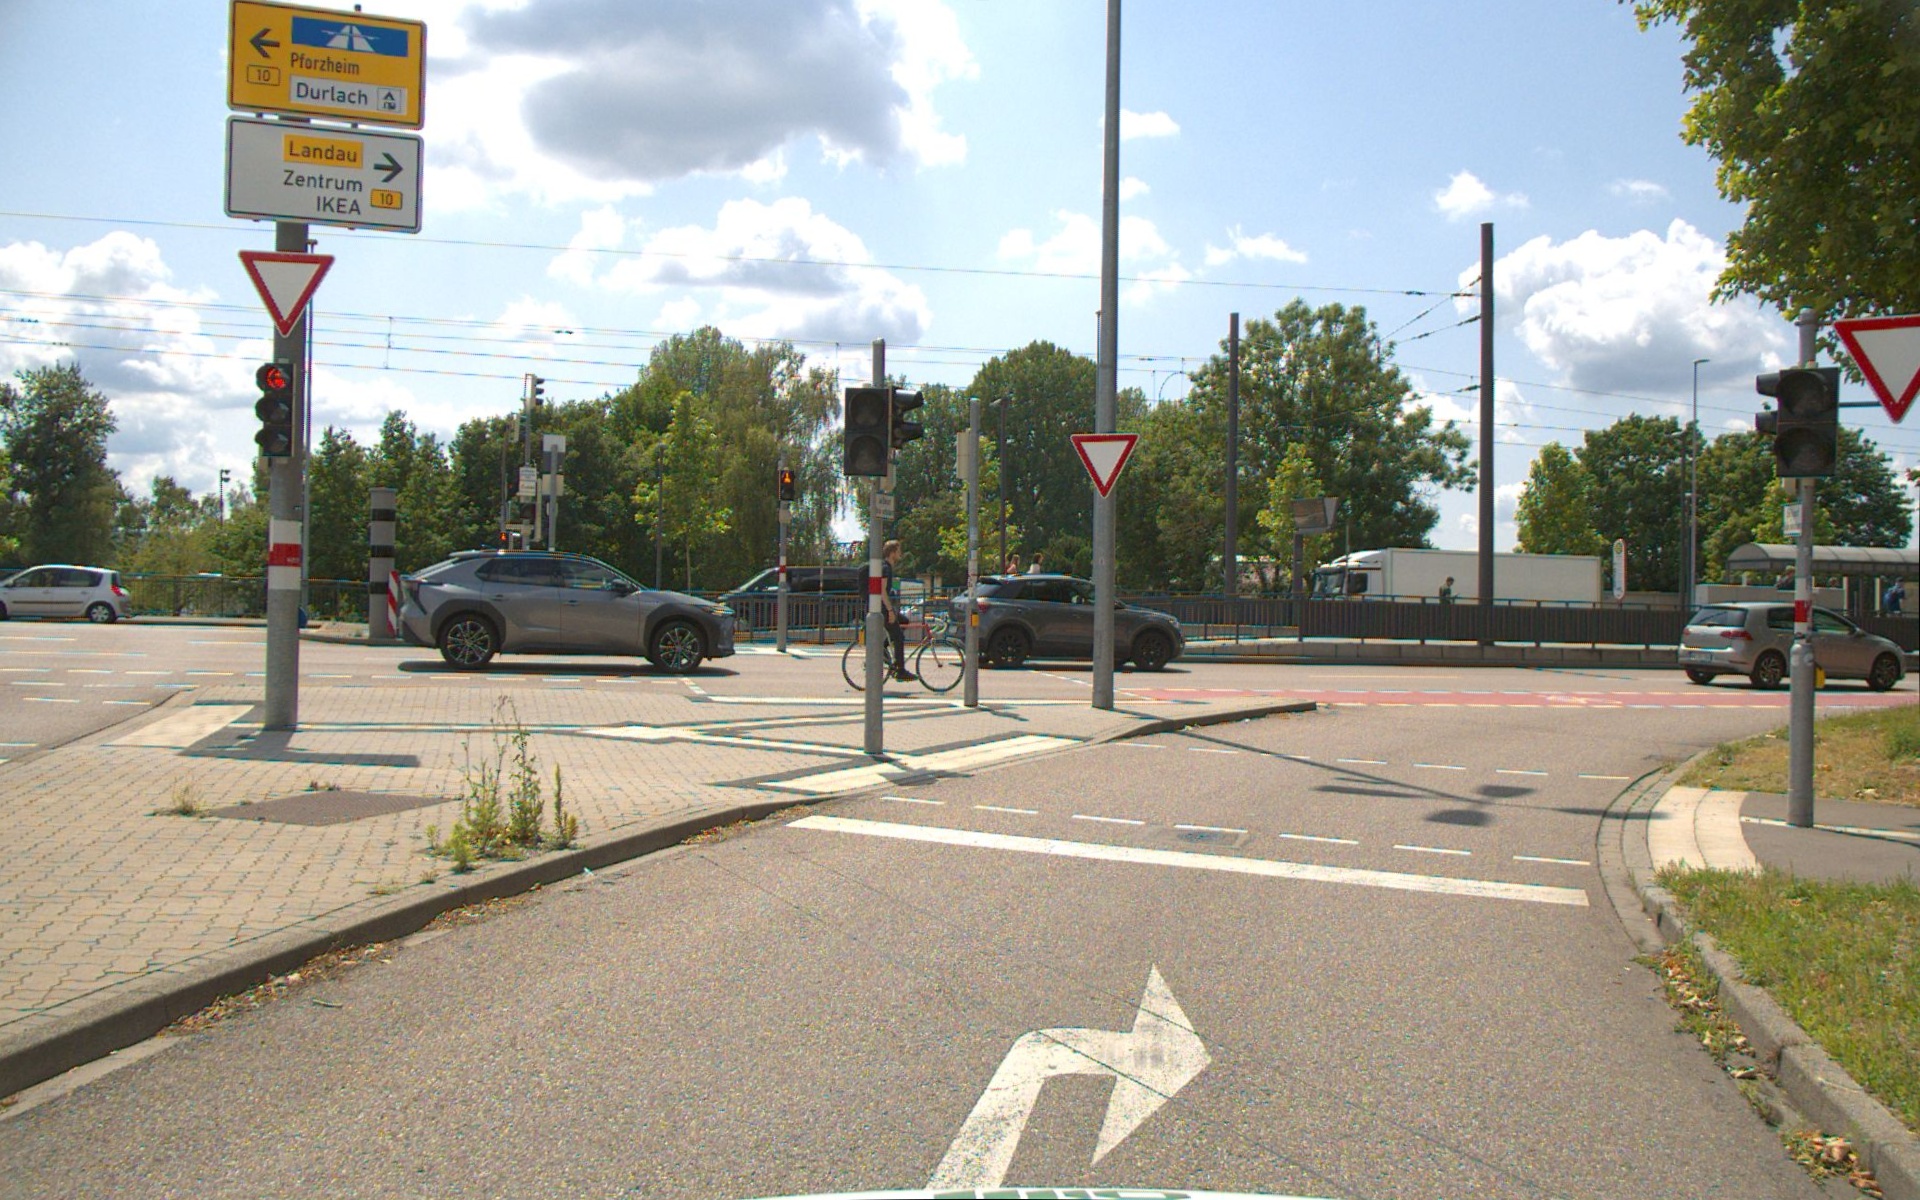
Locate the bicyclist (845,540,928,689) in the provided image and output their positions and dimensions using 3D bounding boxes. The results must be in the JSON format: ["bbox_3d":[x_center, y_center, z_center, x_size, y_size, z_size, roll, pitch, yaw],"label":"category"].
[{"bbox_3d":[-0.955,0.180,21.332,0.906,1.878,0.608,1,0,-17],"label":"bicyclist"}]

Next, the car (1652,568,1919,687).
[{"bbox_3d":[14.852,0.479,29.613,4.280,2.024,1.991,1,0,-17],"label":"car"}]

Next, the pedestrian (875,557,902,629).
[{"bbox_3d":[-1.754,-0.170,40.524,0.514,1.751,0.728,0,0,-13],"label":"pedestrian"}]

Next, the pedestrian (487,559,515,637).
[{"bbox_3d":[-10.823,-0.048,38.993,0.601,1.800,0.670,1,0,-15],"label":"pedestrian"}]

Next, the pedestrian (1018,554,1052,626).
[{"bbox_3d":[1.893,-0.263,41.661,0.664,1.778,0.635,1,2,-14],"label":"pedestrian"}]

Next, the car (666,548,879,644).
[{"bbox_3d":[-3.747,-0.079,32.897,3.926,1.814,1.900,0,1,-19],"label":"car"}]

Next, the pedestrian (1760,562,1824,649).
[{"bbox_3d":[19.150,0.116,38.092,0.976,1.973,0.871,0,0,-18],"label":"pedestrian"}]

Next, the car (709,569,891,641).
[{"bbox_3d":[-4.300,0.139,44.303,4.577,1.852,1.991,1,0,-17],"label":"car"}]

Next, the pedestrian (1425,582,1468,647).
[{"bbox_3d":[14.051,0.404,47.738,0.912,1.839,0.733,1,0,-17],"label":"pedestrian"}]

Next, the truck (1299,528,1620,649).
[{"bbox_3d":[18.763,-0.392,62.010,11.761,4.176,2.940,1,0,-16],"label":"truck"}]

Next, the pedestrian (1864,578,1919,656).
[{"bbox_3d":[21.772,0.389,38.590,0.912,1.786,0.733,1,0,-17],"label":"pedestrian"}]

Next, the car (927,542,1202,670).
[{"bbox_3d":[1.772,0.112,28.468,4.280,2.024,1.991,2,0,-17],"label":"car"}]

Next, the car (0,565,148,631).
[{"bbox_3d":[-25.219,-0.031,46.412,4.251,1.688,1.800,1,-5,-24],"label":"car"}]

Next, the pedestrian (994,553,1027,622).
[{"bbox_3d":[1.293,-0.318,42.444,0.694,1.751,0.599,0,0,-14],"label":"pedestrian"}]

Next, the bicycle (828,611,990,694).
[{"bbox_3d":[-0.664,0.680,21.422,1.985,1.016,0.619,2,1,-17],"label":"bicycle"}]

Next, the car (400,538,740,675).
[{"bbox_3d":[-5.480,0.110,23.236,4.436,1.704,1.894,2,0,-19],"label":"car"}]
